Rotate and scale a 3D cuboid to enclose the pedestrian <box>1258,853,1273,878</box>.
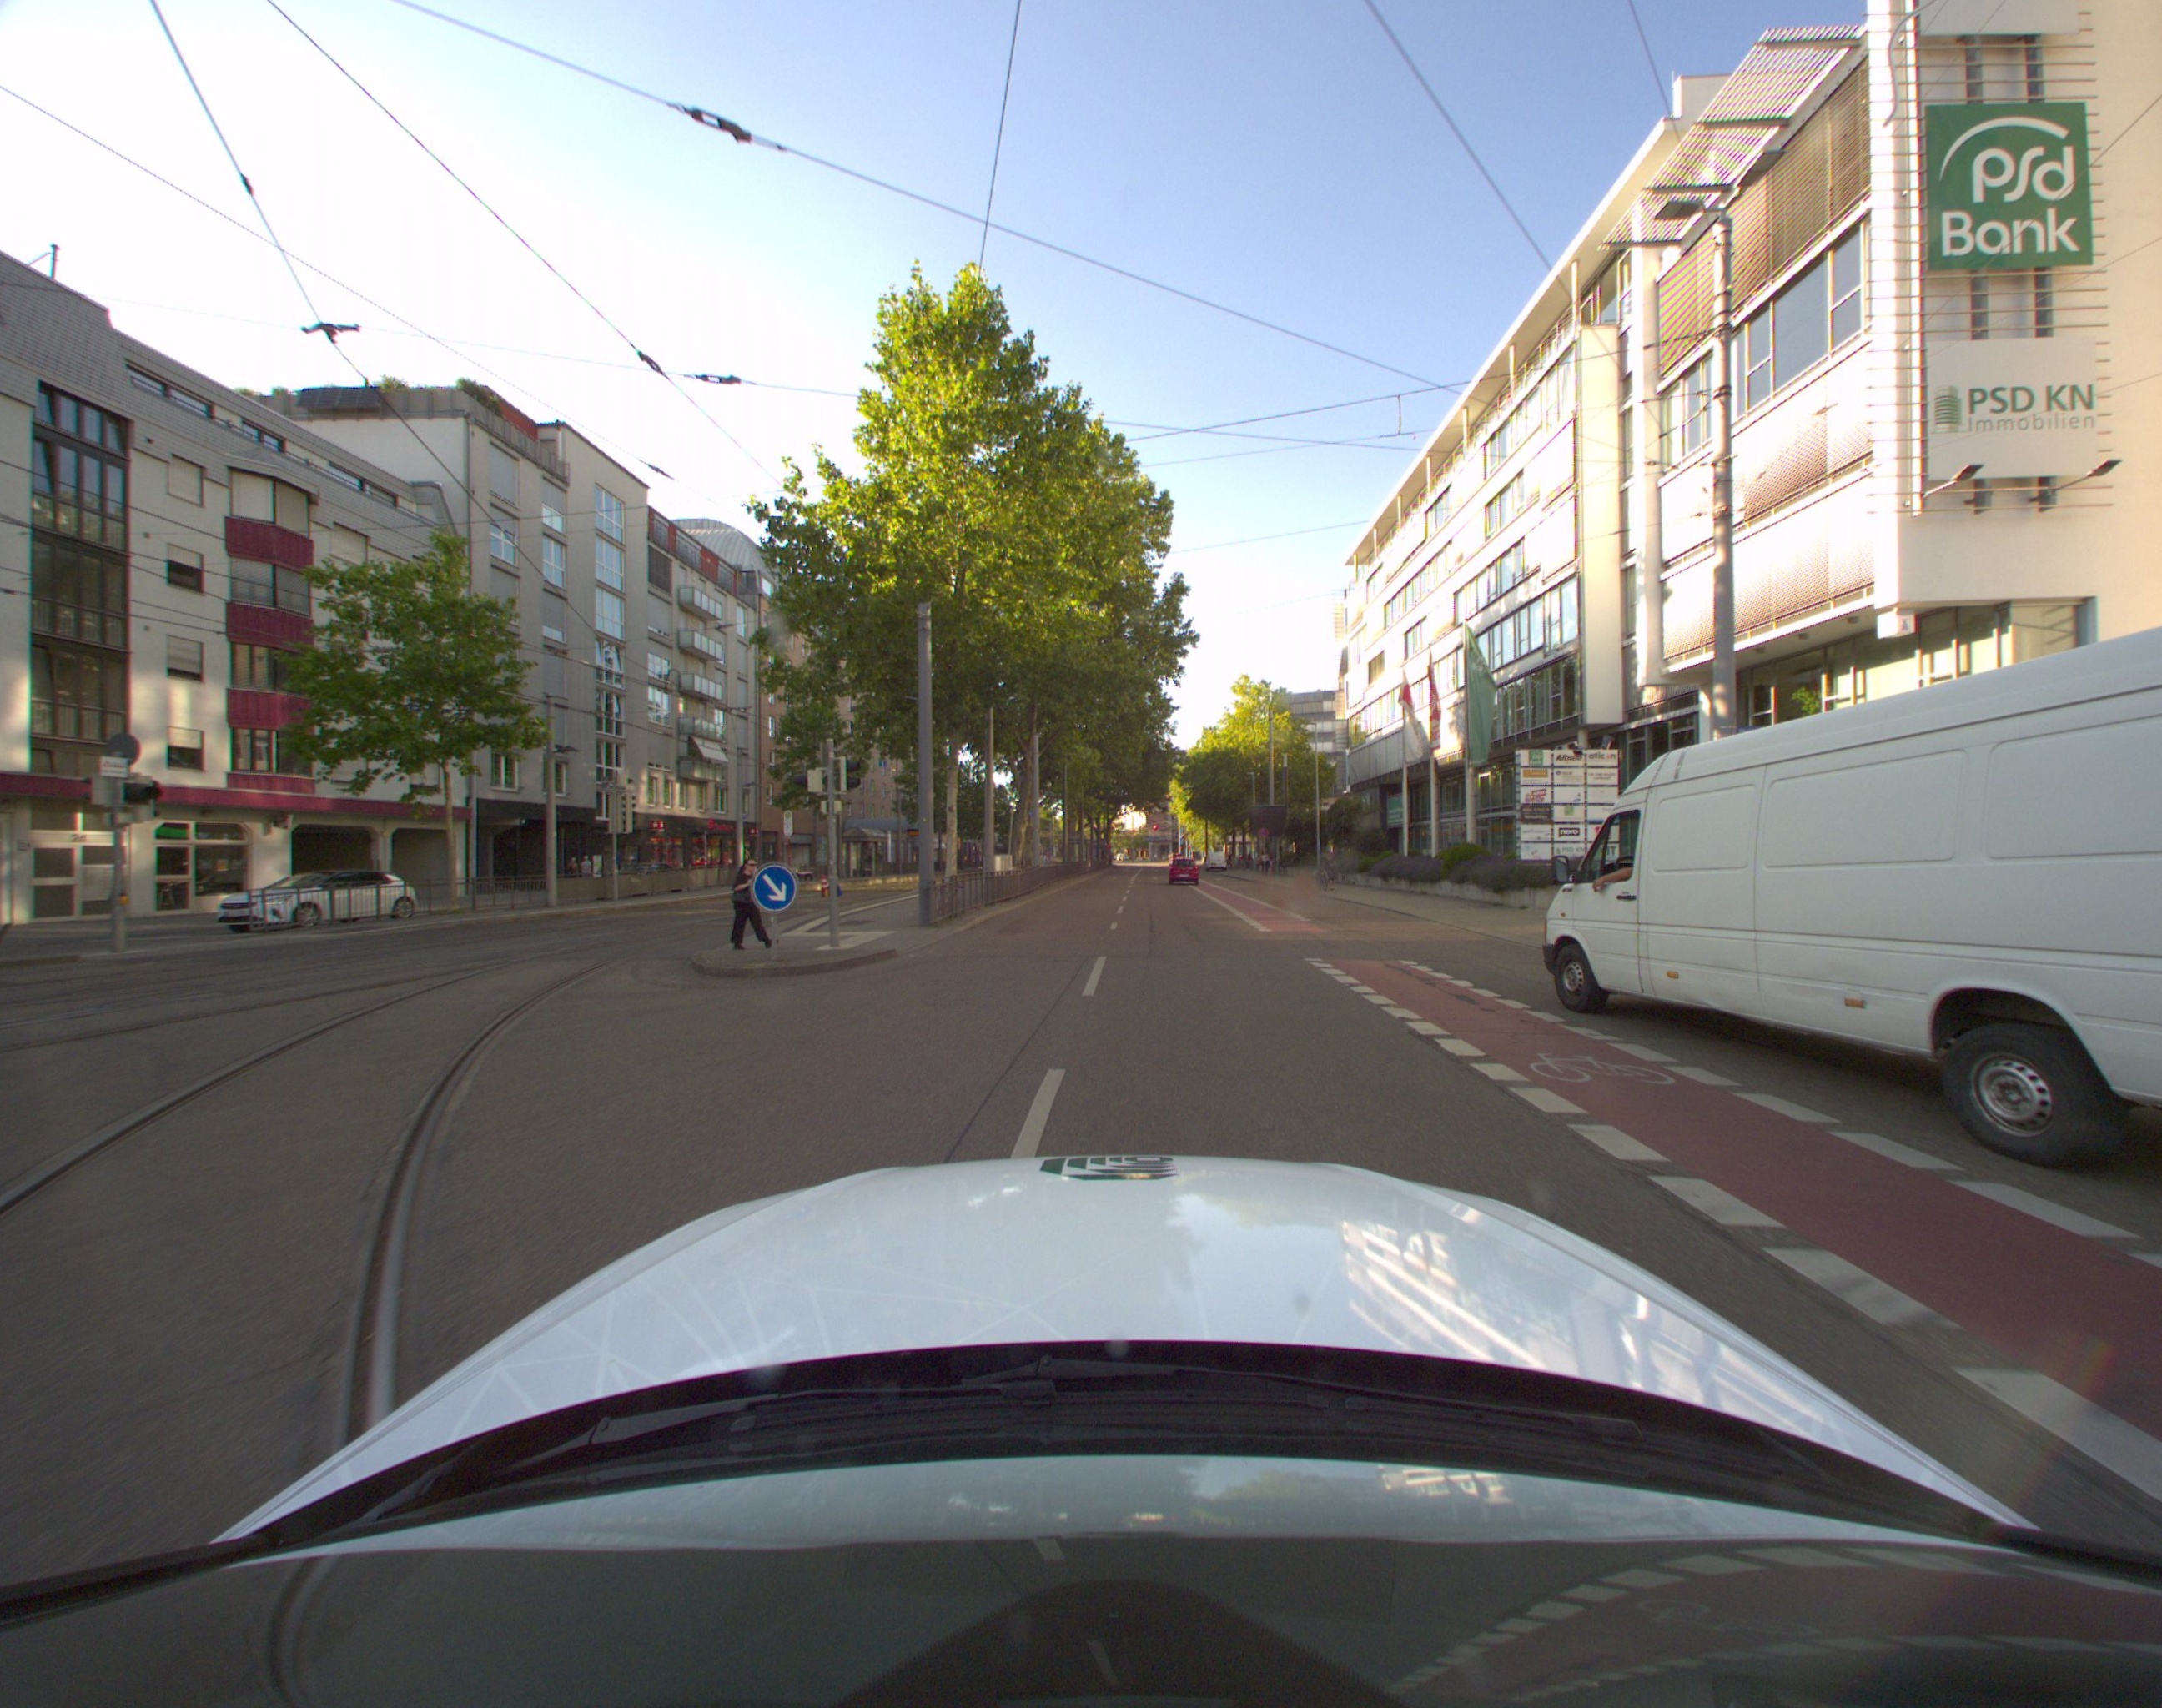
[{"bbox_3d":[12.104,0.737,53.443,0.640,1.579,0.722,-4,-1,-4],"label":"pedestrian"}]

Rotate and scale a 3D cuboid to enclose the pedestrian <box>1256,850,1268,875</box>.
[{"bbox_3d":[12.667,0.599,57.040,0.562,1.702,0.907,-4,-1,2],"label":"pedestrian"}]

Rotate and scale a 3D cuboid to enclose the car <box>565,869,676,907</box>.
[{"bbox_3d":[-19.057,1.371,33.990,1.692,1.399,4.657,-1,0,4],"label":"car"}]

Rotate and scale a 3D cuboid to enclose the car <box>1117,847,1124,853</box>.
[{"bbox_3d":[10.748,-0.989,223.988,1.772,1.588,3.411,0,0,-1],"label":"car"}]

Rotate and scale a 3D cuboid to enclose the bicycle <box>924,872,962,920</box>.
[{"bbox_3d":[-3.096,0.920,18.318,0.393,0.949,1.355,-1,2,9],"label":"bicycle"}]

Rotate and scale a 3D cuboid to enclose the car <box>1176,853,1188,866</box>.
[{"bbox_3d":[15.193,0.831,122.665,1.627,1.800,3.335,-1,0,6],"label":"car"}]

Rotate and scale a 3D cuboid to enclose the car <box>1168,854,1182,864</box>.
[{"bbox_3d":[14.911,0.788,129.154,1.772,1.535,3.511,0,0,-1],"label":"car"}]

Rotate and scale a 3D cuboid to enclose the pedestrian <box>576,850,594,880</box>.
[{"bbox_3d":[-25.265,0.560,41.515,0.532,1.494,0.588,-1,0,1],"label":"pedestrian"}]

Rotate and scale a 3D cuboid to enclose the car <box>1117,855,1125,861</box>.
[{"bbox_3d":[10.730,0.976,217.950,1.772,1.535,3.411,0,0,-1],"label":"car"}]

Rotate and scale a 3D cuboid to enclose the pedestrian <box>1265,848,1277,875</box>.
[{"bbox_3d":[13.306,0.526,57.031,0.538,1.796,0.907,-4,-1,2],"label":"pedestrian"}]

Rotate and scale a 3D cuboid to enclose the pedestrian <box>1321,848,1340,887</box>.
[{"bbox_3d":[10.765,0.582,35.126,0.643,1.680,0.652,-1,0,5],"label":"pedestrian"}]

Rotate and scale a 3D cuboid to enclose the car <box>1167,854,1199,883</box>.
[{"bbox_3d":[5.615,0.765,45.076,1.606,1.535,3.416,0,0,4],"label":"car"}]

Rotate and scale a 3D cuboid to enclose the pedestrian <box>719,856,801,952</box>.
[{"bbox_3d":[-5.360,0.821,13.621,1.040,1.544,0.696,-1,0,7],"label":"pedestrian"}]

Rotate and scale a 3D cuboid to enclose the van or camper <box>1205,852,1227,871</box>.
[{"bbox_3d":[14.150,0.752,85.694,1.984,1.989,4.751,0,0,5],"label":"van or camper"}]

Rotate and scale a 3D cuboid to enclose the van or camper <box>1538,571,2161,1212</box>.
[{"bbox_3d":[5.722,0.158,5.644,1.960,2.716,6.312,0,0,4],"label":"van or camper"}]

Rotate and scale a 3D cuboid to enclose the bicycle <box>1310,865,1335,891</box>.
[{"bbox_3d":[10.391,1.012,35.110,0.518,0.975,2.204,-4,0,4],"label":"bicycle"}]

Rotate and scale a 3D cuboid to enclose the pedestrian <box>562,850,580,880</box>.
[{"bbox_3d":[-25.909,0.550,41.353,0.532,1.494,0.588,-1,0,1],"label":"pedestrian"}]

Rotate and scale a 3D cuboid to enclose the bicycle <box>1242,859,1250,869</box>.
[{"bbox_3d":[18.373,1.094,90.894,0.583,1.067,1.901,-2,0,4],"label":"bicycle"}]

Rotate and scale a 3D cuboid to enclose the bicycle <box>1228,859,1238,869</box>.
[{"bbox_3d":[16.448,1.044,88.253,0.680,1.067,2.471,-2,0,4],"label":"bicycle"}]

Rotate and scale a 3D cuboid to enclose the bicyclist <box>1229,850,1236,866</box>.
[{"bbox_3d":[16.439,0.416,88.349,0.647,1.702,0.953,0,-1,3],"label":"bicyclist"}]

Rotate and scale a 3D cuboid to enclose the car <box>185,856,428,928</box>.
[{"bbox_3d":[-19.355,0.880,20.678,1.946,1.595,4.265,-1,0,3],"label":"car"}]

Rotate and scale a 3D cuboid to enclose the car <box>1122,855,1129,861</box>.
[{"bbox_3d":[11.551,0.972,211.287,1.772,1.535,3.411,0,0,-1],"label":"car"}]
